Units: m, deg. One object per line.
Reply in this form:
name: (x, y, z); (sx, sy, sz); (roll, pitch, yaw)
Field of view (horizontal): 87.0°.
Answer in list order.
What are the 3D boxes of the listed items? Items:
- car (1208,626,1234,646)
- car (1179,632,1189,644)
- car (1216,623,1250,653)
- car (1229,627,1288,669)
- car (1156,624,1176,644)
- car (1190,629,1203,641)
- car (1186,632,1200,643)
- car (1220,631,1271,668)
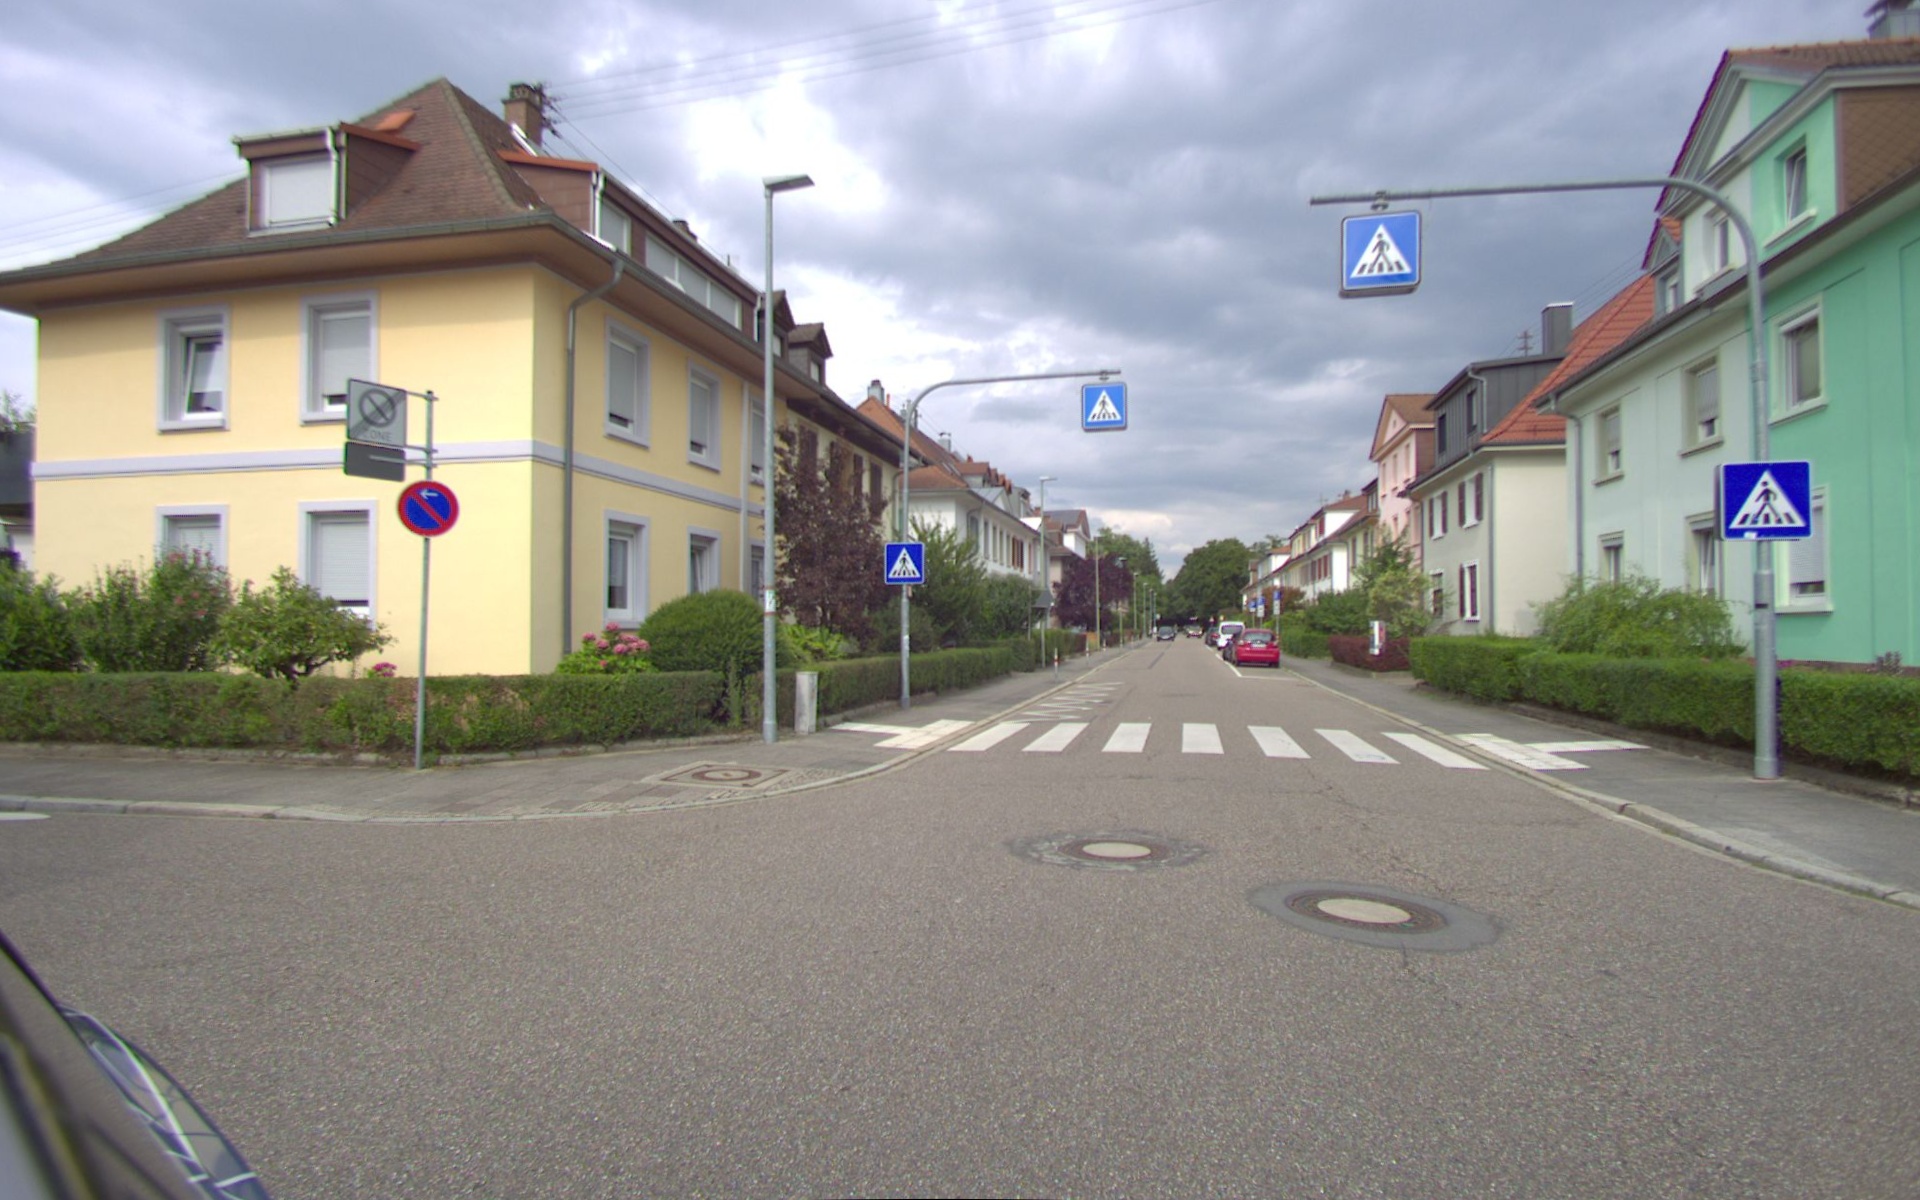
car: (21.519, 2.964, 83.535); (1.980, 1.586, 3.983); (0, -2, 13)
car: (39.088, 6.691, 176.758); (1.611, 2.029, 3.894); (0, -2, 10)
car: (18.327, 2.555, 68.083); (1.980, 1.918, 3.983); (0, -2, 13)
car: (11.966, 1.894, 40.755); (1.980, 1.586, 3.983); (0, -2, 13)
car: (22.065, 3.608, 108.220); (1.980, 2.029, 3.983); (0, -2, 13)
car: (39.197, 5.774, 167.569); (1.980, 2.029, 3.983); (1, -2, 13)
car: (32.207, 5.144, 140.061); (1.817, 1.497, 3.985); (1, -2, 12)
car: (12.872, 2.211, 45.883); (1.980, 1.586, 3.983); (0, -2, 13)
